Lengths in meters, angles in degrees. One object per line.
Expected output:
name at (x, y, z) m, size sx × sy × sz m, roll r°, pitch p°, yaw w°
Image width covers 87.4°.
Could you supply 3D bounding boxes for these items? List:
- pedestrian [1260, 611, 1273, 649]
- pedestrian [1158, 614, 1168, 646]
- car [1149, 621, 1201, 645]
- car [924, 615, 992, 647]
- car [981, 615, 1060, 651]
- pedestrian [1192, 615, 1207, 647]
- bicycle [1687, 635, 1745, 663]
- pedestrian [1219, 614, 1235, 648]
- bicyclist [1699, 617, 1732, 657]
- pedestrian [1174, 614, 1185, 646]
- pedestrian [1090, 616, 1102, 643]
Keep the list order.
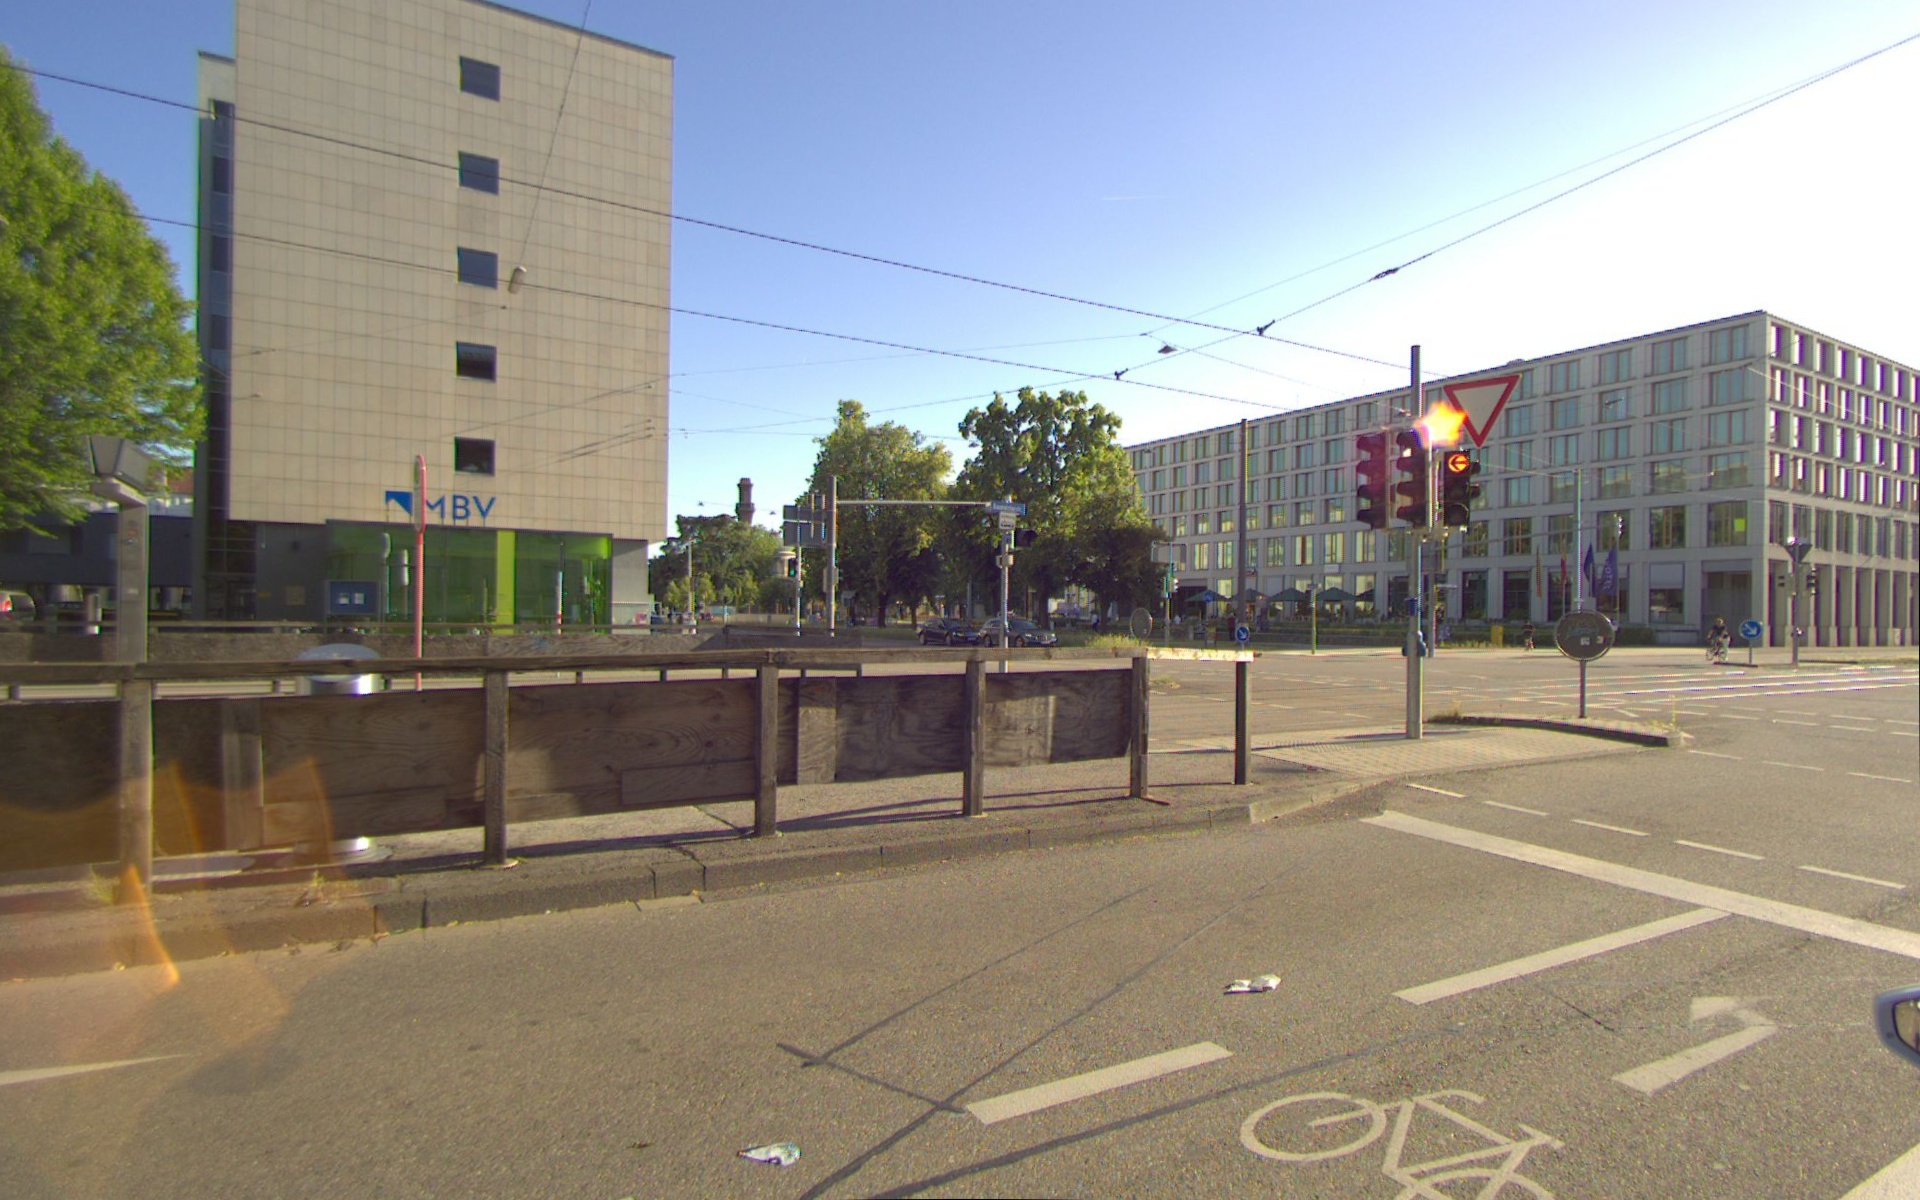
pedestrian at (18.657, 1.802, 61.105) m, size 0.528 × 2.310 × 0.565 m, roll 1°, pitch -1°, yaw -36°
pedestrian at (13.178, 1.932, 65.270) m, size 0.483 × 2.040 × 0.493 m, roll 1°, pitch -1°, yaw -17°
car at (13.555, 2.090, 63.455) m, size 1.453 × 1.457 × 3.171 m, roll 1°, pitch -1°, yaw -29°
car at (-0.160, 1.588, 52.554) m, size 1.801 × 1.595 × 3.967 m, roll 0°, pitch 0°, yaw -31°
car at (2.831, 1.518, 47.504) m, size 1.708 × 1.595 × 4.140 m, roll 1°, pitch -1°, yaw -31°
pedestrian at (15.791, 2.045, 66.271) m, size 0.793 × 2.040 × 0.526 m, roll 1°, pitch -1°, yaw -36°
bicycle at (32.075, 2.075, 42.594) m, size 2.976 × 1.136 × 0.871 m, roll 1°, pitch -1°, yaw -29°
pedestrian at (16.444, 1.893, 61.821) m, size 0.644 × 2.095 × 0.645 m, roll 3°, pitch -2°, yaw -36°
bicyclist at (32.000, 1.563, 42.526) m, size 0.812 × 1.663 × 0.872 m, roll 1°, pitch -1°, yaw -29°
pedestrian at (14.374, 1.971, 65.739) m, size 0.483 × 2.040 × 0.493 m, roll 1°, pitch -1°, yaw -17°
pedestrian at (9.820, 2.145, 72.596) m, size 0.672 × 1.928 × 0.560 m, roll 1°, pitch -1°, yaw -21°
